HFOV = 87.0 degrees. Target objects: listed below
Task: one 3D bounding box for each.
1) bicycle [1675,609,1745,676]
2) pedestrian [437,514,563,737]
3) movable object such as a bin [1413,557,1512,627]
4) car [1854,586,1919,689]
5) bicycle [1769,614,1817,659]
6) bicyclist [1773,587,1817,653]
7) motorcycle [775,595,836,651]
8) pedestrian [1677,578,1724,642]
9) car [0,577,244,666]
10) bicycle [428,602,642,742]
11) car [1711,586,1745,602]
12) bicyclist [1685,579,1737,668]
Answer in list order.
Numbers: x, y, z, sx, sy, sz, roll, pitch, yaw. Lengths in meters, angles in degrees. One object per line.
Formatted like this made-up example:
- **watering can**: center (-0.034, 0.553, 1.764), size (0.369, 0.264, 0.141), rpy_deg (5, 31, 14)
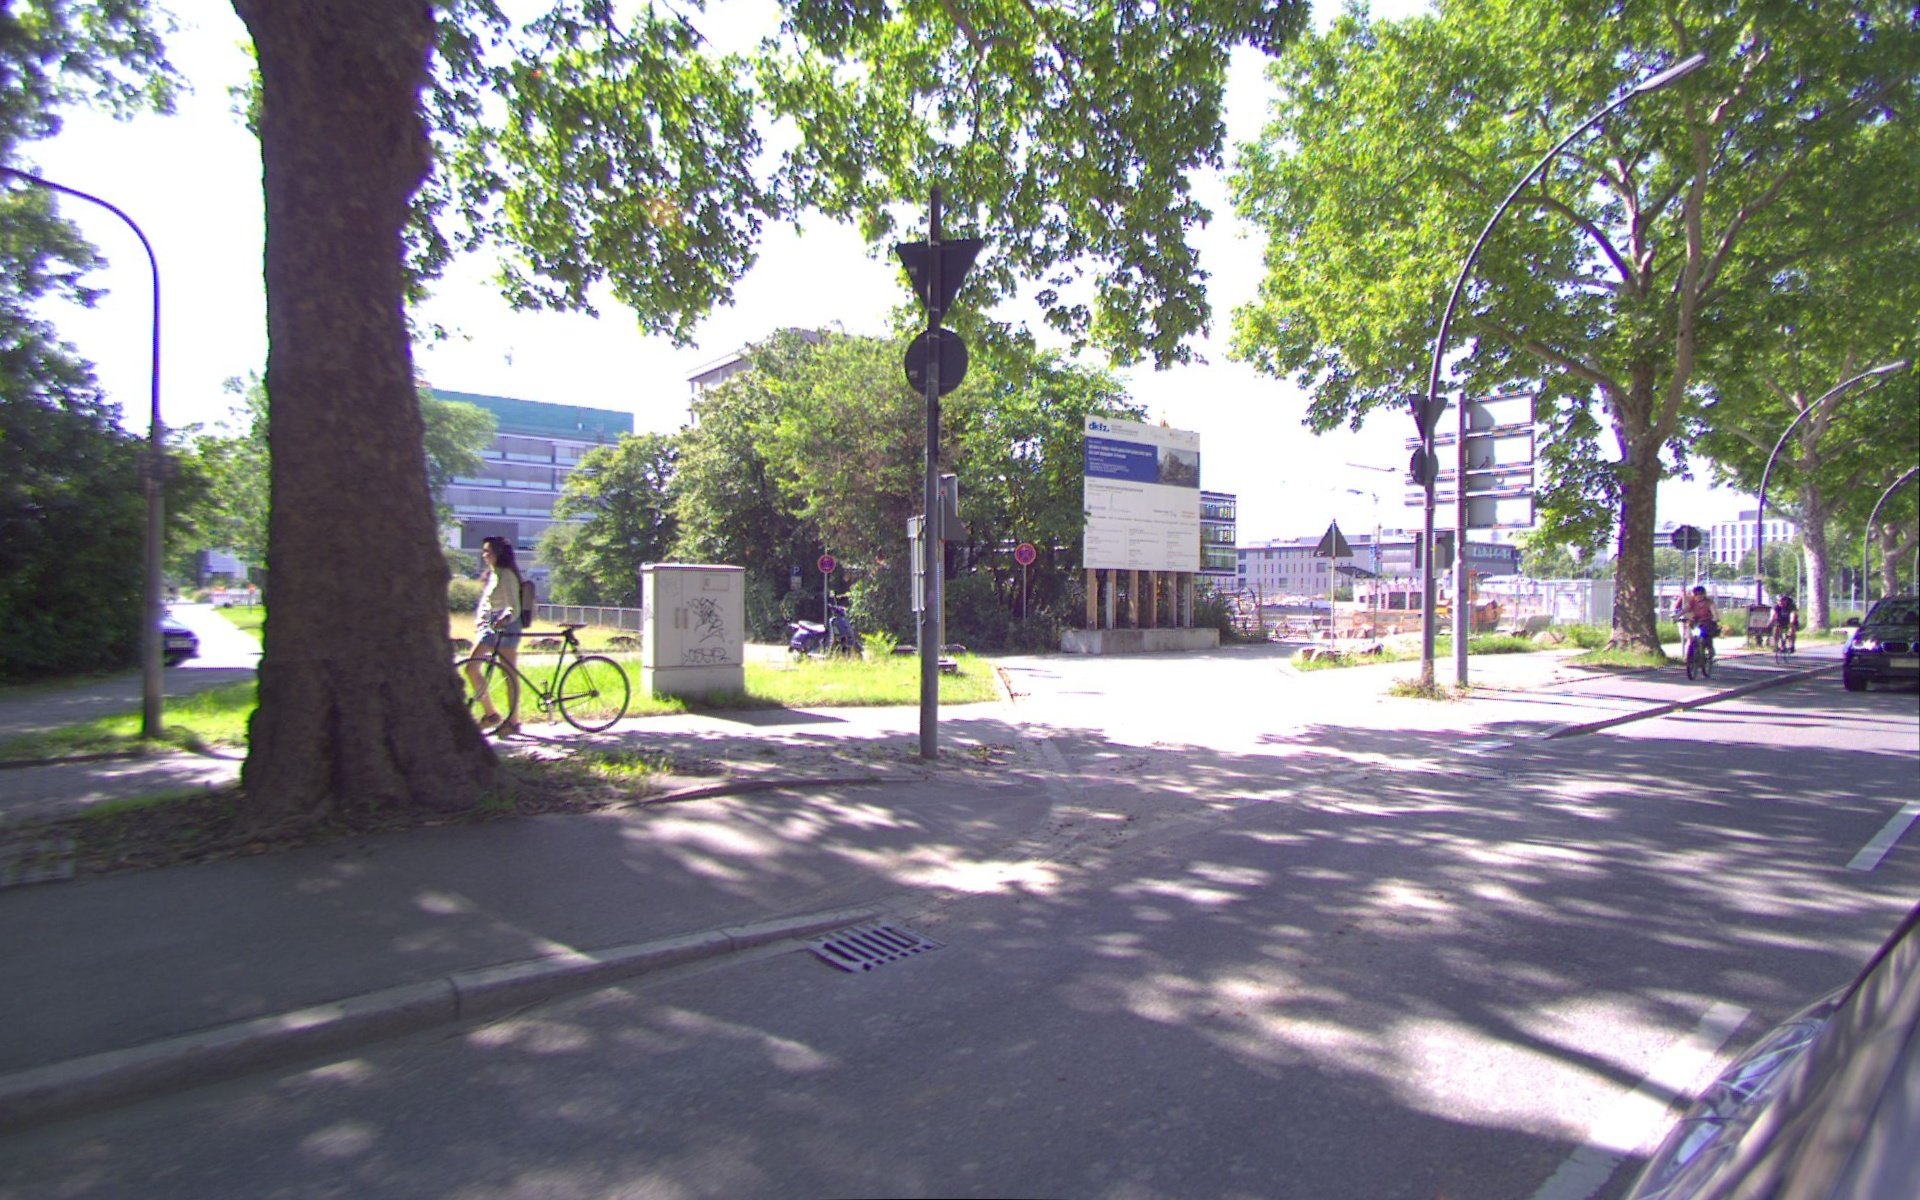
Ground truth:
- **bicycle**: center (14.105, 0.770, 19.024), size (1.912, 1.143, 0.652), rpy_deg (0, 2, -42)
- **pedestrian**: center (-3.973, 0.204, 8.745), size (0.859, 1.808, 0.633), rpy_deg (0, 0, -41)
- **movable object such as a bin**: center (23.699, -0.366, 47.617), size (5.886, 3.111, 2.371), rpy_deg (0, 0, -44)
- **car**: center (17.888, 0.627, 18.408), size (4.079, 1.752, 1.923), rpy_deg (0, 0, -41)
- **bicycle**: center (19.949, 0.859, 24.224), size (1.751, 0.992, 0.598), rpy_deg (0, 3, -43)
- **bicyclist**: center (20.007, 0.460, 24.242), size (1.194, 1.507, 0.599), rpy_deg (0, 3, -43)
- **motorcycle**: center (-2.846, 0.407, 18.609), size (1.219, 0.980, 0.464), rpy_deg (0, 0, 44)
- **pedestrian**: center (22.755, 0.285, 31.105), size (1.131, 1.916, 0.940), rpy_deg (0, 0, -40)
- **car**: center (-15.114, 0.336, 18.106), size (3.944, 1.472, 1.676), rpy_deg (0, 0, 16)
- **bicycle**: center (-3.596, 0.566, 8.666), size (1.669, 1.095, 0.350), rpy_deg (0, 0, -41)
- **car**: center (118.284, -0.903, 155.816), size (1.779, 2.351, 3.990), rpy_deg (0, 0, -43)
- **bicyclist**: center (14.112, 0.429, 19.015), size (0.720, 1.620, 0.621), rpy_deg (0, 2, -42)
